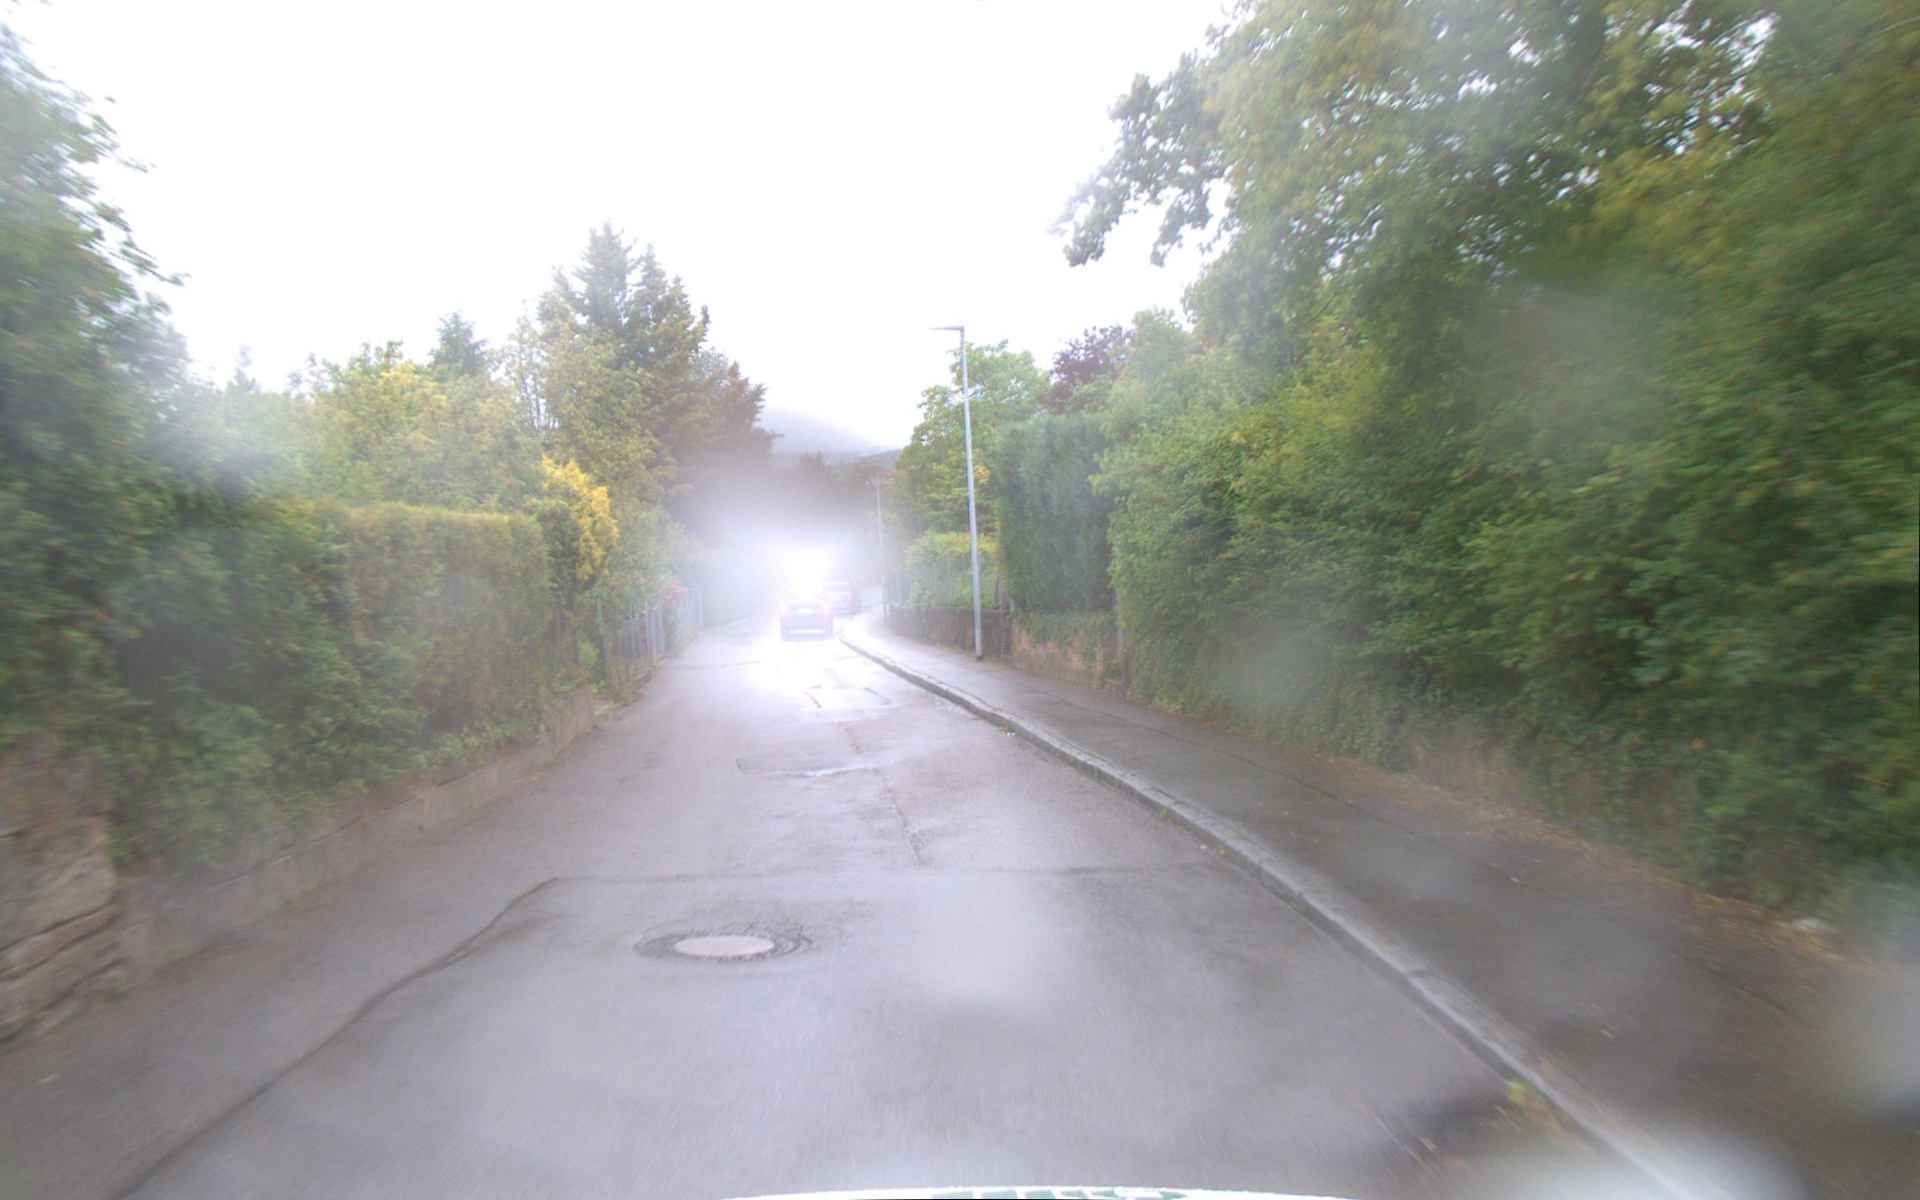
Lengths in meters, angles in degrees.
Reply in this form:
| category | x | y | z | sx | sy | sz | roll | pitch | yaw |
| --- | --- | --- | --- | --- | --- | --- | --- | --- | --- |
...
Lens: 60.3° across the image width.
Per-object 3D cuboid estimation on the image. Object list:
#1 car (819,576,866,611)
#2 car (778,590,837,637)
| category | x | y | z | sx | sy | sz | roll | pitch | yaw |
| --- | --- | --- | --- | --- | --- | --- | --- | --- | --- |
| car | -5.698 | -0.329 | 80.631 | 1.642 | 1.592 | 3.797 | 0 | 2 | 5 |
| car | -5.121 | 0.441 | 56.027 | 1.798 | 1.489 | 3.998 | 1 | 0 | -3 |
